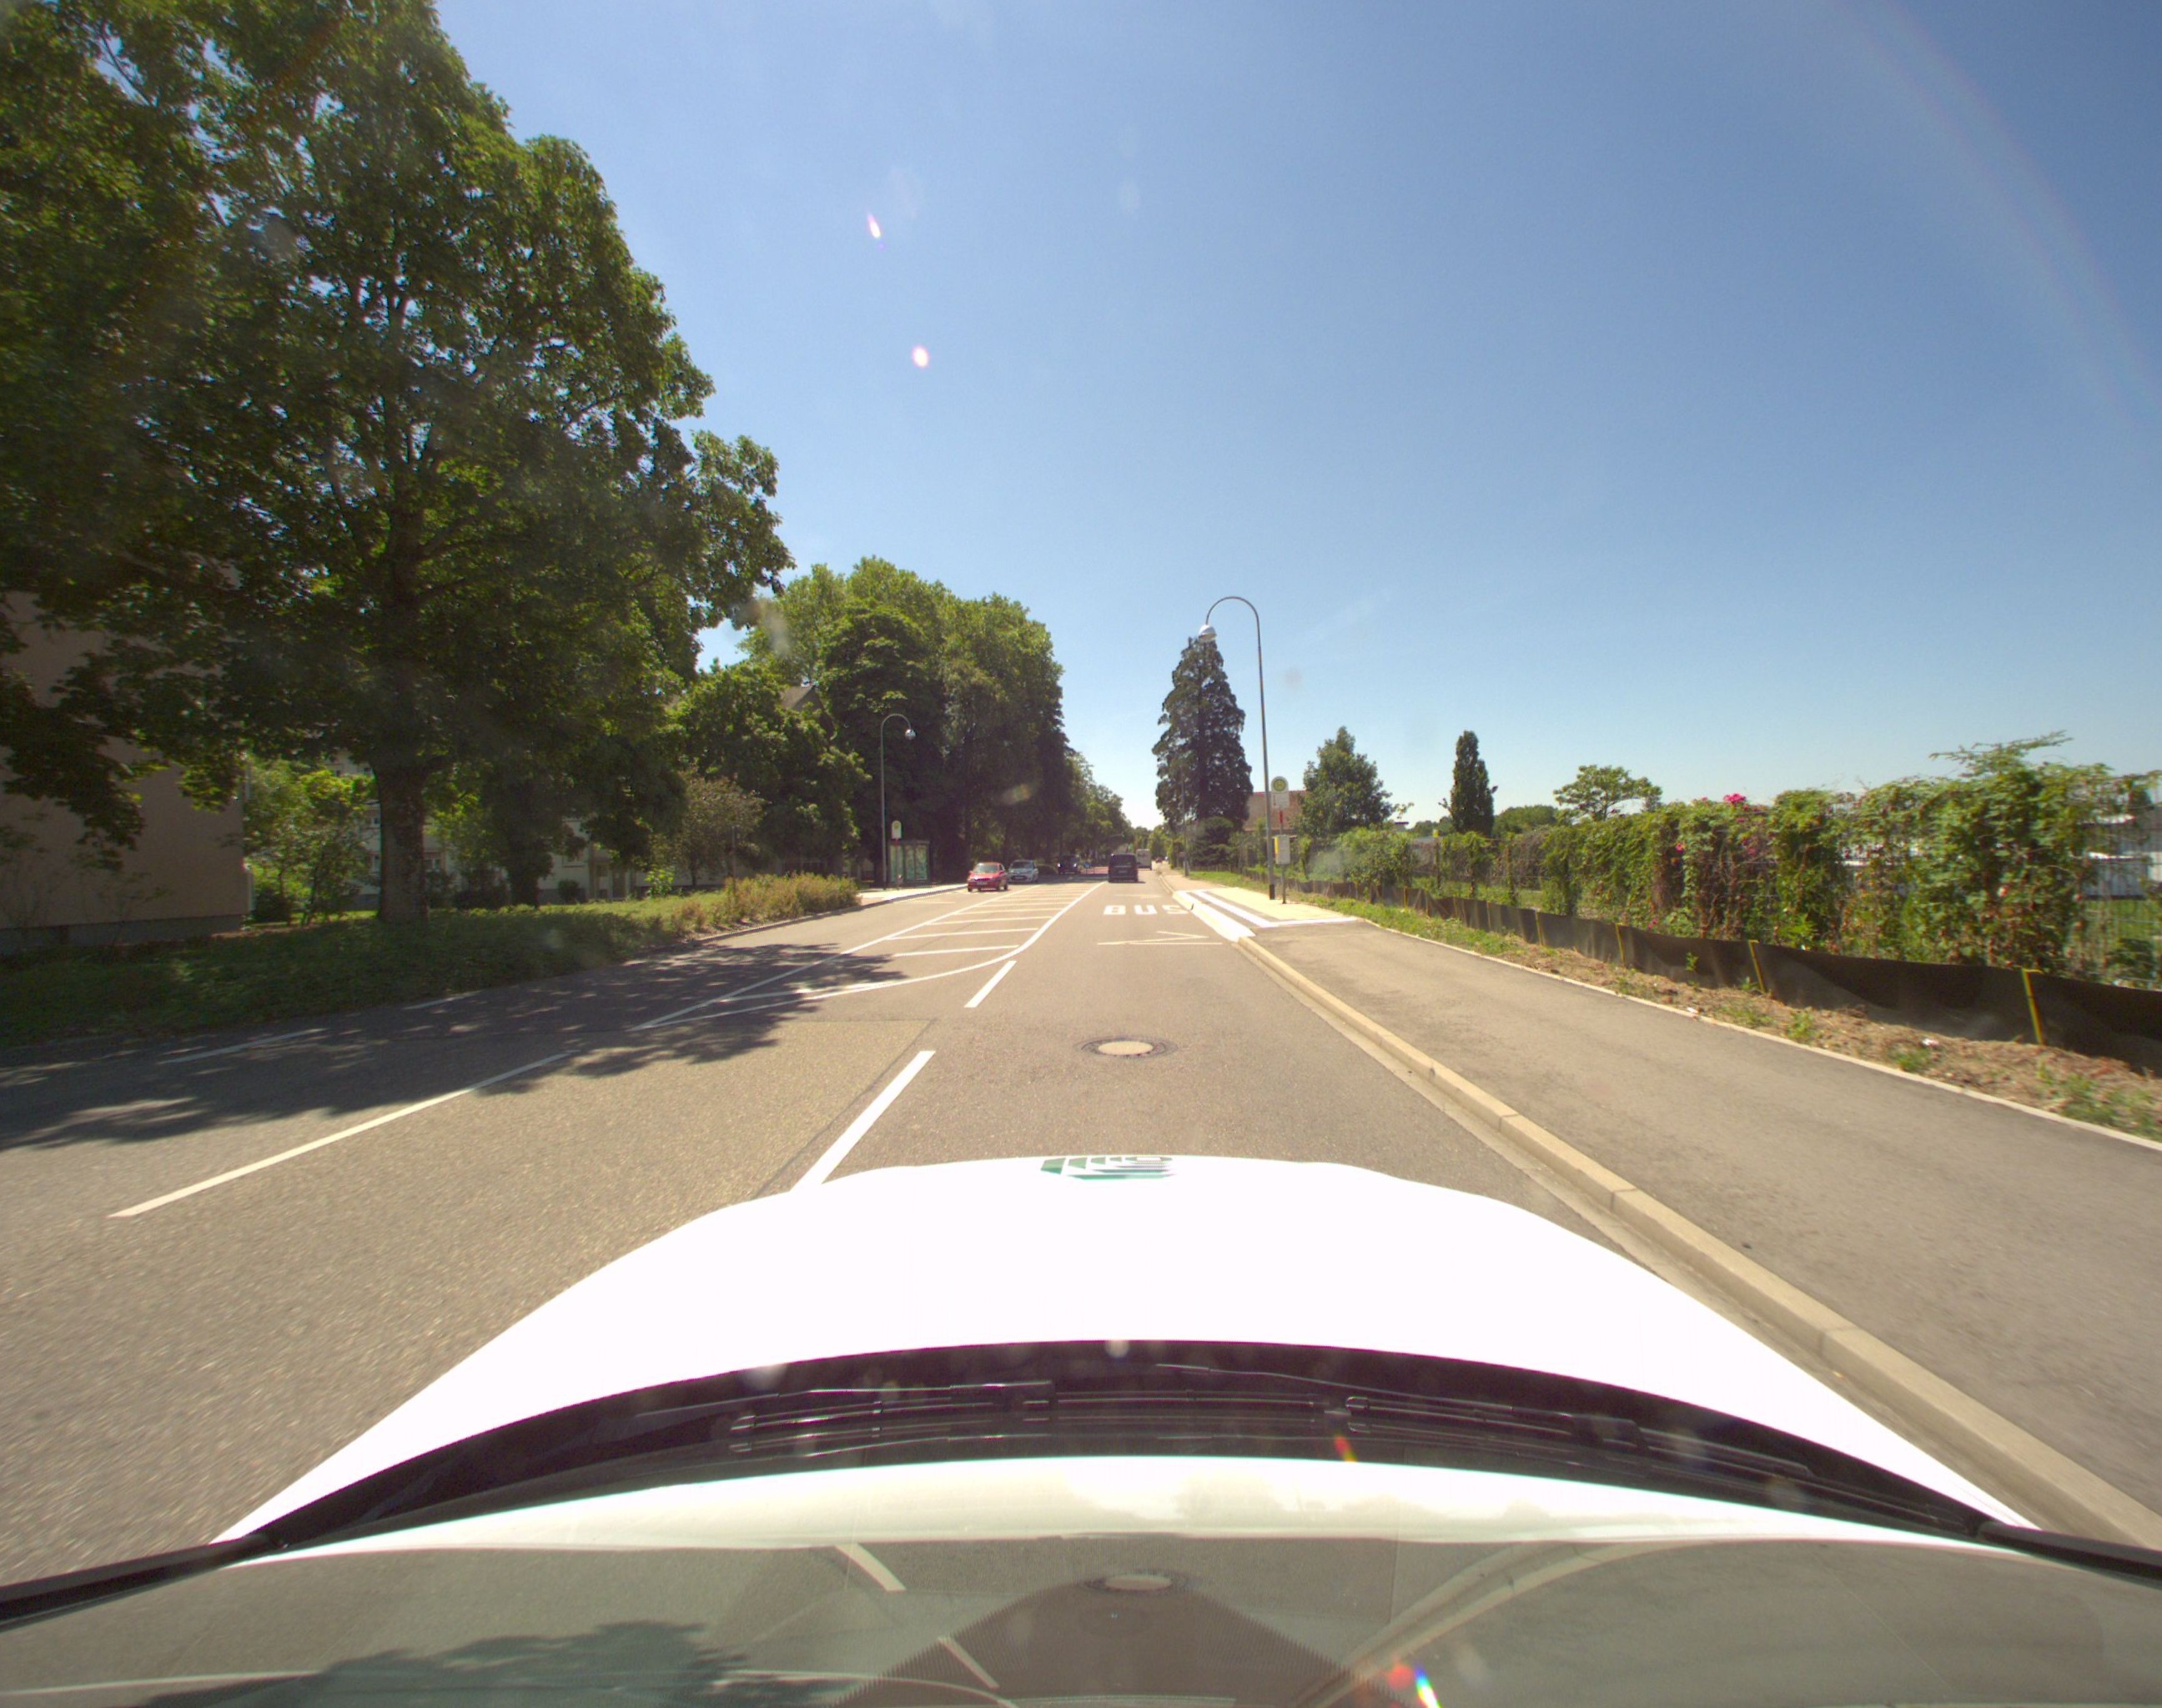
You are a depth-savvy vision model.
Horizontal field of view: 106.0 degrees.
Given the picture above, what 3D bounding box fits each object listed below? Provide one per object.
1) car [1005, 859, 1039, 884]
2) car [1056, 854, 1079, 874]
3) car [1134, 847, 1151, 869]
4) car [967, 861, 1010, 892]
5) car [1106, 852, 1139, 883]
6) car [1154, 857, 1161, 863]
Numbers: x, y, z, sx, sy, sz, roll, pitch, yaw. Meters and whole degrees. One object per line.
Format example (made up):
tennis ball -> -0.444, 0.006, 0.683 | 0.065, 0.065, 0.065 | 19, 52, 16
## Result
car -> -3.660, 1.078, 51.046 | 1.683, 1.460, 3.643 | 0, 0, 3
car -> -1.350, 0.988, 81.525 | 1.986, 1.910, 4.993 | -1, 0, 2
car -> 7.827, 0.439, 103.173 | 2.110, 2.677, 5.669 | 0, 0, 4
car -> -4.558, 1.089, 40.590 | 1.544, 1.450, 3.693 | 0, -1, 3
car -> 2.666, 0.821, 52.144 | 1.985, 1.893, 4.003 | 0, 0, 3
car -> 21.212, 1.721, 225.780 | 1.851, 1.643, 4.002 | 0, 0, 2
